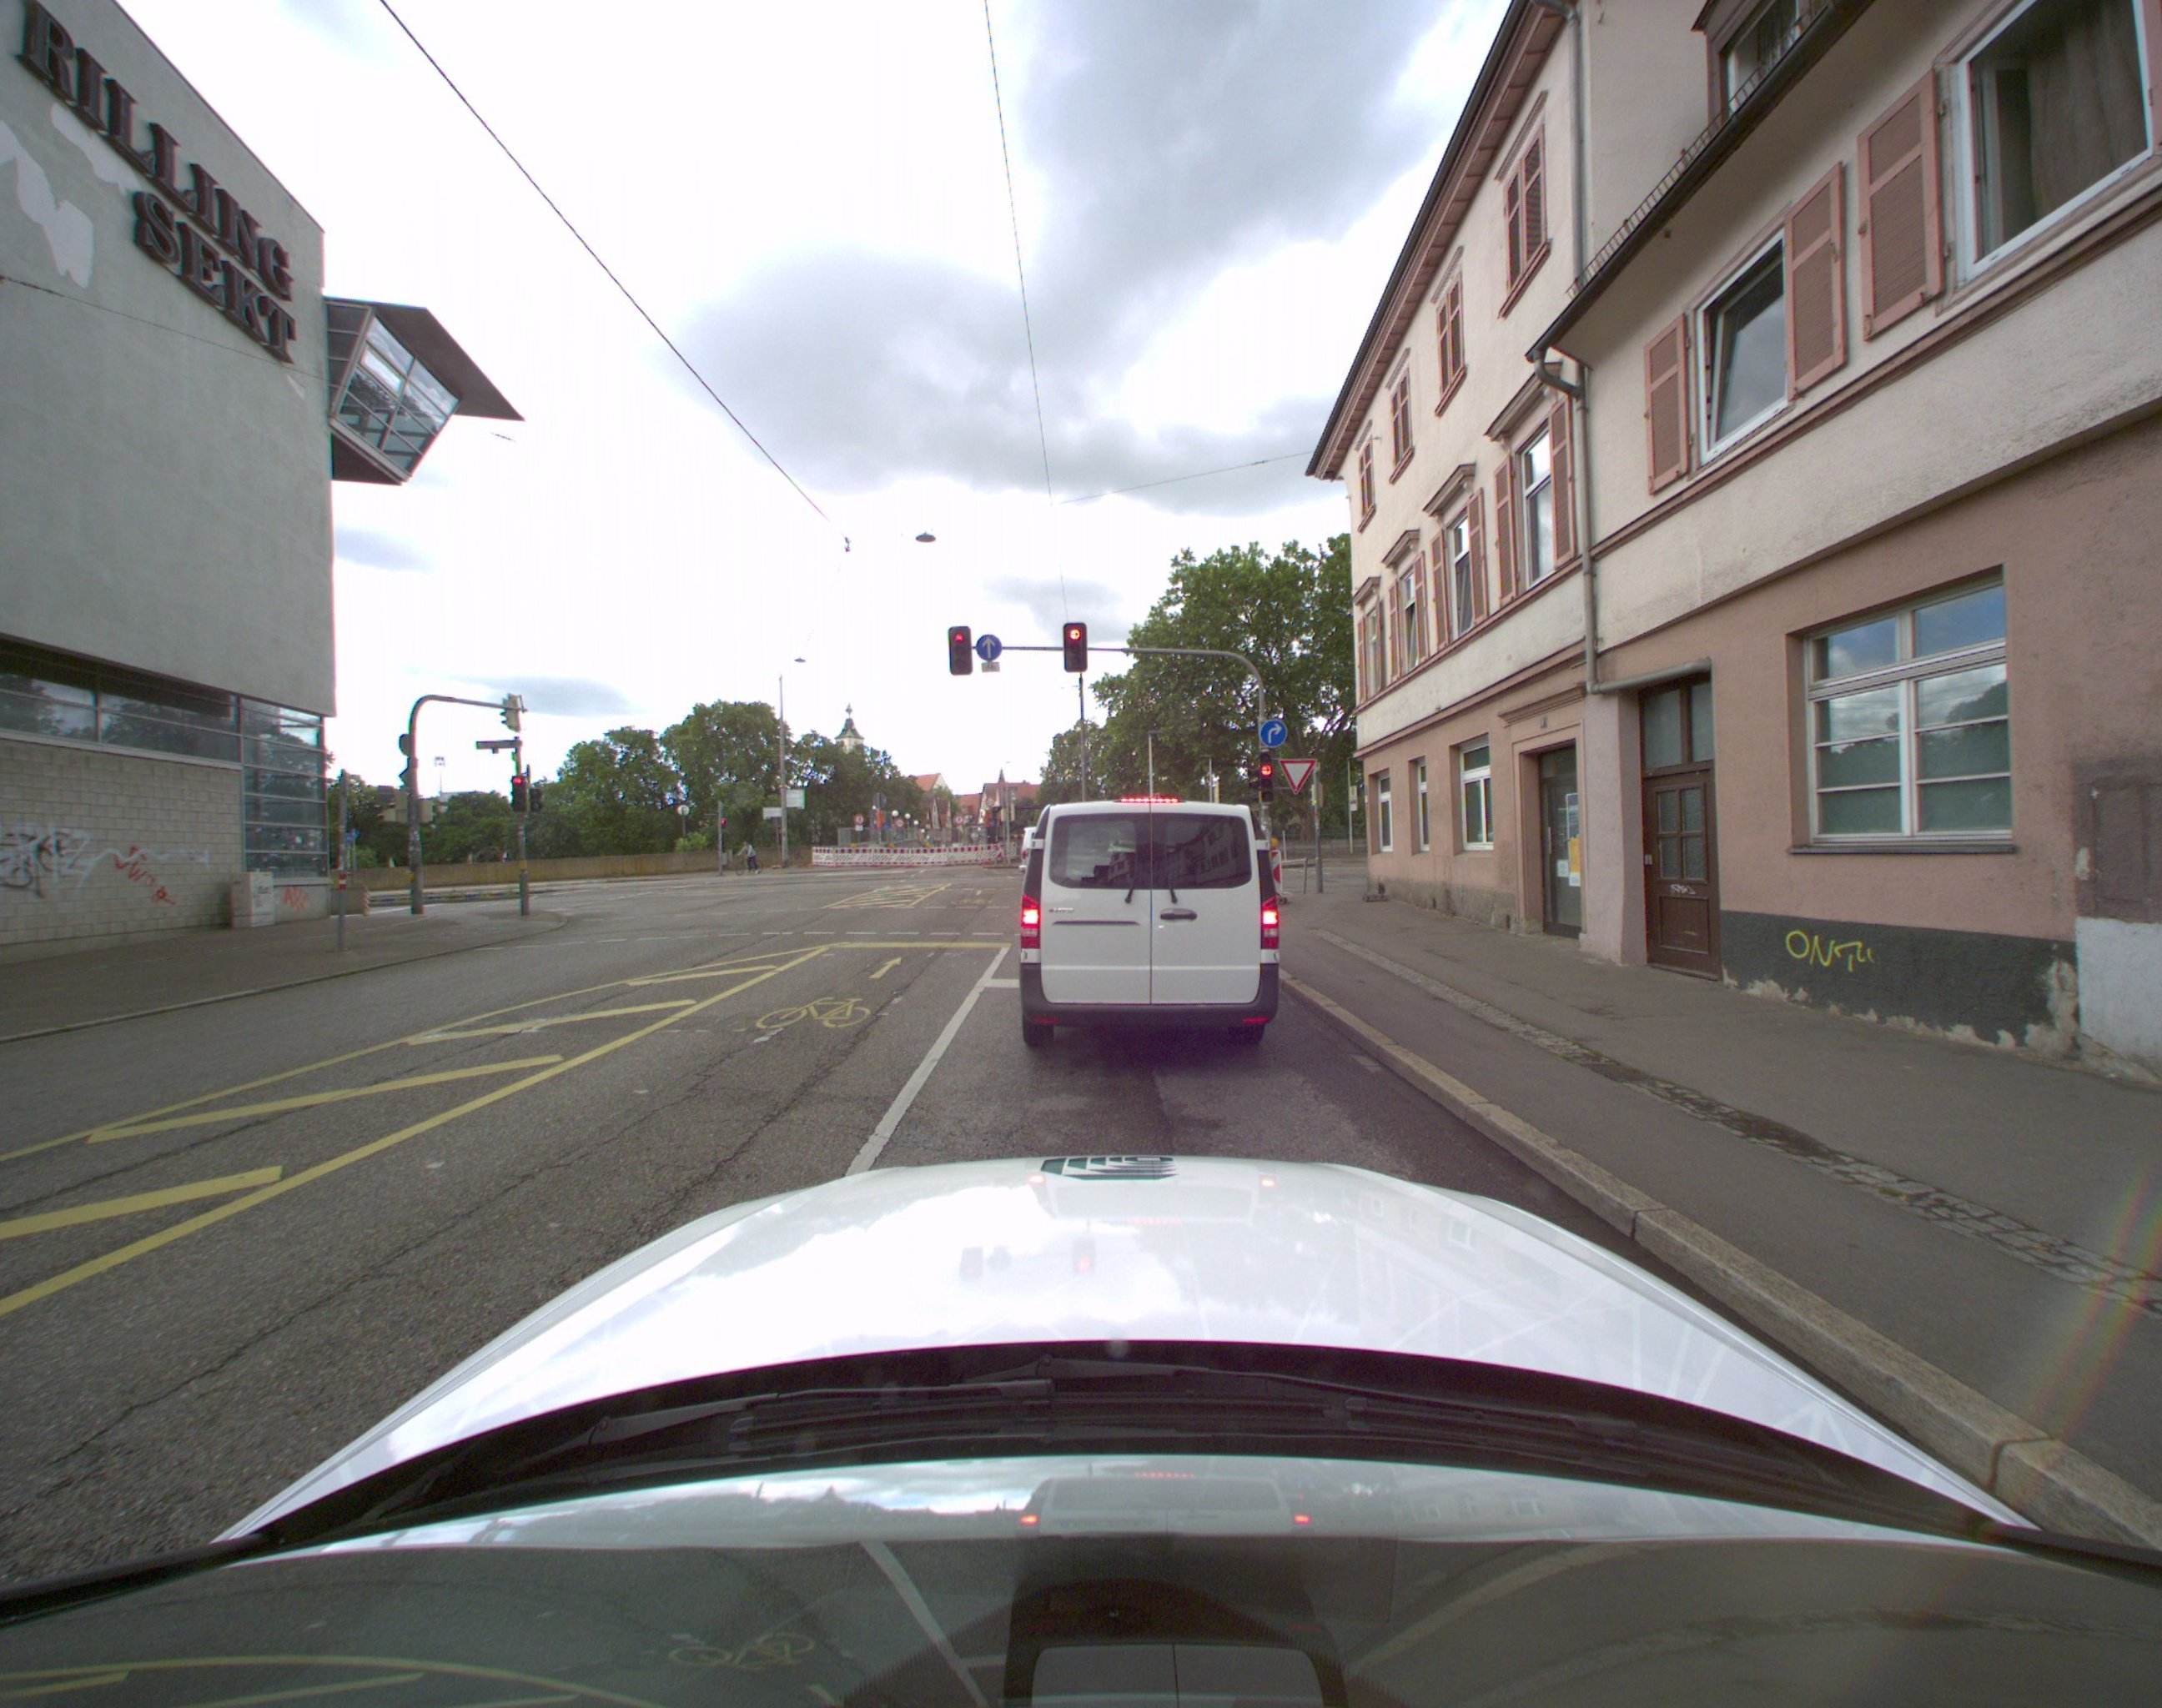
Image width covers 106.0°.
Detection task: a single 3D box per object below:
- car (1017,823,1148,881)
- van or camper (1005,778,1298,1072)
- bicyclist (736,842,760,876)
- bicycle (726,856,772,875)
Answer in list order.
[{"bbox_3d":[0.083,-0.094,28.120,4.329,1.802,2.002,-1,1,2],"label":"car"},{"bbox_3d":[0.397,0.477,7.604,1.933,1.925,4.437,0,-1,-2],"label":"van or camper"},{"bbox_3d":[-17.863,0.252,43.672,1.010,1.743,0.746,-2,1,-40],"label":"bicyclist"},{"bbox_3d":[-17.811,0.615,43.716,2.150,0.892,0.751,-3,2,-41],"label":"bicycle"}]
